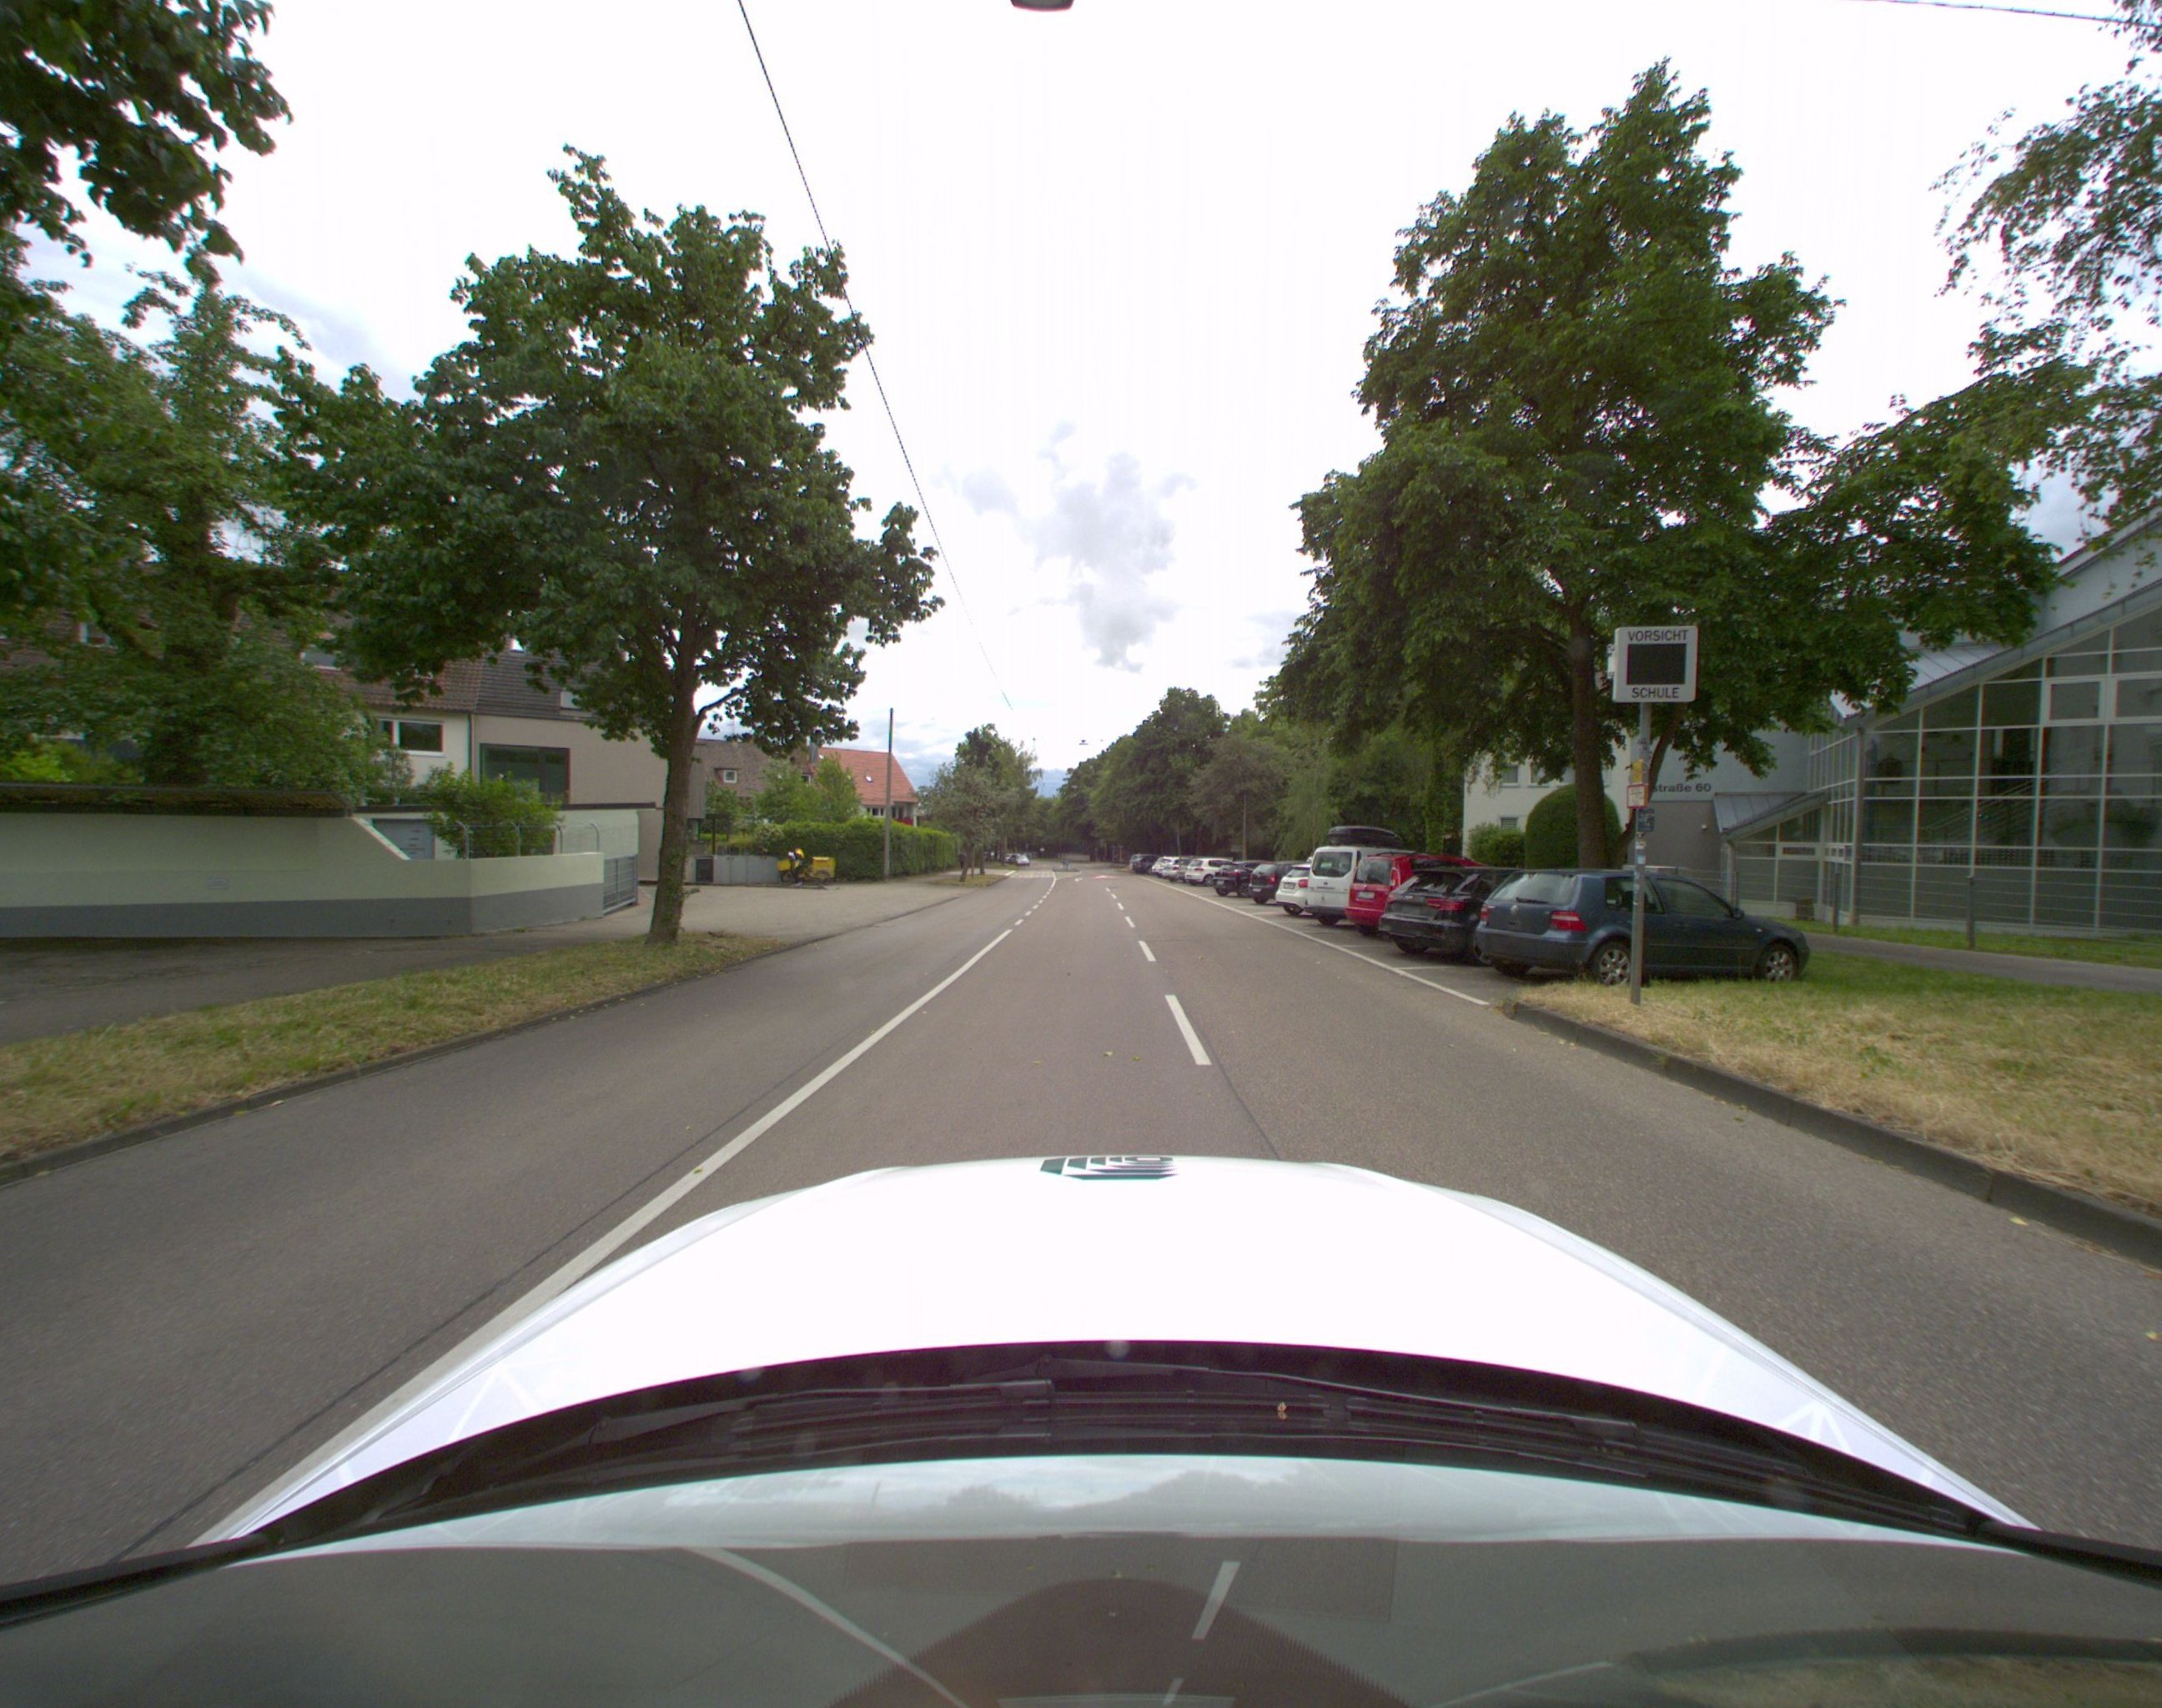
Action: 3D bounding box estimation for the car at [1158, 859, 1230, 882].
[{"bbox_3d":[6.708,0.976,48.226,3.901,1.309,1.730,1,0,-23],"label":"car"}]

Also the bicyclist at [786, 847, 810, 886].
[{"bbox_3d":[-12.378,0.537,35.634,0.709,1.697,0.847,1,0,-1],"label":"bicyclist"}]

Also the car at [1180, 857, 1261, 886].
[{"bbox_3d":[7.407,0.939,43.349,3.897,1.449,1.732,1,0,-20],"label":"car"}]

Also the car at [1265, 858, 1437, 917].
[{"bbox_3d":[7.197,0.886,21.872,3.972,1.449,1.909,2,0,-14],"label":"car"}]

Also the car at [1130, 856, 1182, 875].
[{"bbox_3d":[6.155,0.919,66.604,3.895,1.429,1.733,1,0,-18],"label":"car"}]

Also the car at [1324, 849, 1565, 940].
[{"bbox_3d":[7.019,0.766,15.855,4.003,1.620,1.875,2,0,-15],"label":"car"}]

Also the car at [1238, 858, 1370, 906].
[{"bbox_3d":[7.443,0.927,27.201,3.895,1.449,1.833,2,-1,-19],"label":"car"}]

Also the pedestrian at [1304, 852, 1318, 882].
[{"bbox_3d":[12.856,0.740,45.521,0.646,1.671,0.745,0,-1,7],"label":"pedestrian"}]

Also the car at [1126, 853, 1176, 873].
[{"bbox_3d":[5.937,0.777,69.398,3.895,1.668,1.733,1,0,-18],"label":"car"}]

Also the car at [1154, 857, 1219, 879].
[{"bbox_3d":[6.968,0.924,54.011,3.895,1.429,1.733,1,0,-18],"label":"car"}]

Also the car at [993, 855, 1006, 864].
[{"bbox_3d":[-13.719,0.957,137.186,1.868,1.471,3.984,0,0,-11],"label":"car"}]

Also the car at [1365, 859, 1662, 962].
[{"bbox_3d":[6.705,0.847,12.709,4.036,1.405,1.747,2,0,-17],"label":"car"}]

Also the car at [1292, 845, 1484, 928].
[{"bbox_3d":[7.087,0.727,18.766,4.106,1.754,1.772,2,0,-25],"label":"car"}]

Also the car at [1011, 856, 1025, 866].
[{"bbox_3d":[-8.904,0.965,114.414,1.864,1.471,3.992,0,0,-5],"label":"car"}]

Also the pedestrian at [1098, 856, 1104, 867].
[{"bbox_3d":[3.052,1.147,124.329,0.736,1.570,0.654,0,-1,12],"label":"pedestrian"}]

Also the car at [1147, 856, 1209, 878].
[{"bbox_3d":[6.751,0.913,56.591,3.895,1.429,1.733,1,0,-18],"label":"car"}]

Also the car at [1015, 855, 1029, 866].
[{"bbox_3d":[-7.874,0.875,108.833,1.864,1.471,3.992,0,0,-5],"label":"car"}]

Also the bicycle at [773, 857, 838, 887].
[{"bbox_3d":[-12.137,0.800,35.953,2.651,1.266,0.842,1,0,-19],"label":"bicycle"}]

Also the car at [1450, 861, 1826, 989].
[{"bbox_3d":[7.012,0.859,10.378,3.969,1.405,1.749,2,0,-14],"label":"car"}]

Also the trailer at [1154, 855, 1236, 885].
[{"bbox_3d":[6.372,0.887,45.543,4.165,1.573,1.702,2,-1,-18],"label":"trailer"}]

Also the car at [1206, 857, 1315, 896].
[{"bbox_3d":[7.096,0.888,32.209,3.900,1.449,1.831,1,0,-22],"label":"car"}]

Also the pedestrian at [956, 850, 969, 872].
[{"bbox_3d":[-9.360,0.557,64.413,0.972,1.730,0.848,0,0,-3],"label":"pedestrian"}]

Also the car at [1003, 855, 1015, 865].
[{"bbox_3d":[-11.154,0.897,126.293,1.864,1.471,3.992,0,0,-5],"label":"car"}]
